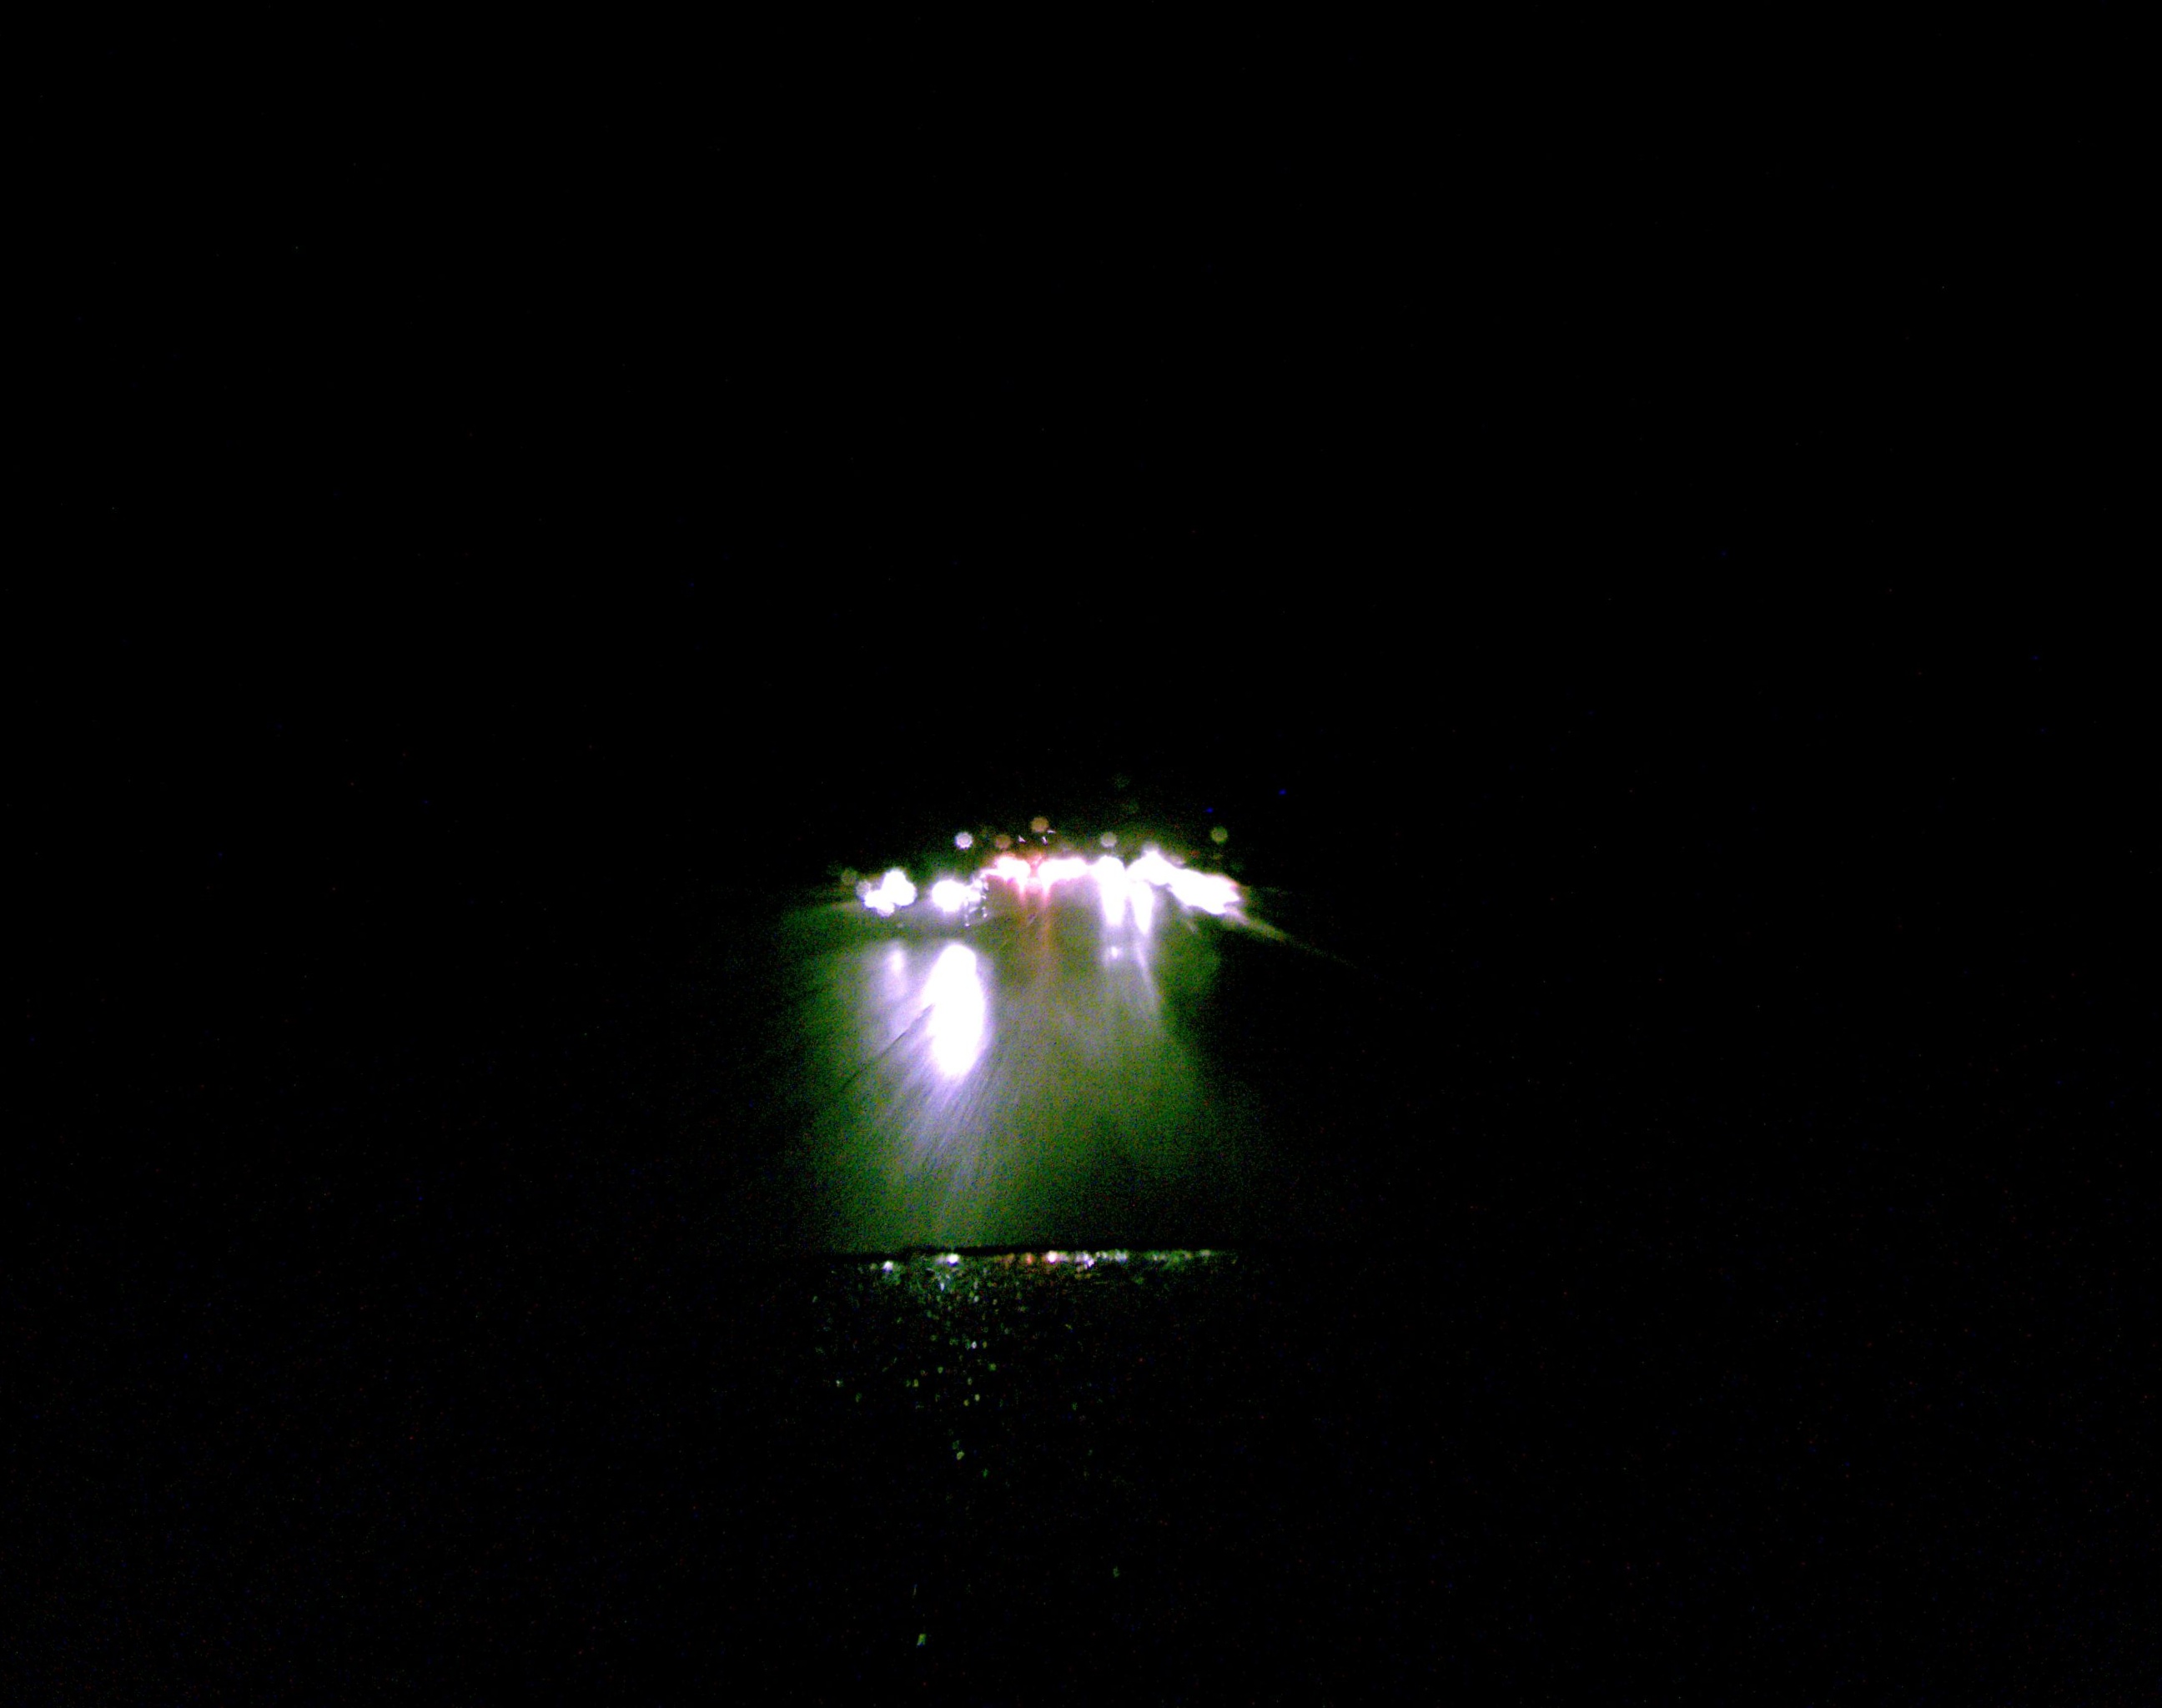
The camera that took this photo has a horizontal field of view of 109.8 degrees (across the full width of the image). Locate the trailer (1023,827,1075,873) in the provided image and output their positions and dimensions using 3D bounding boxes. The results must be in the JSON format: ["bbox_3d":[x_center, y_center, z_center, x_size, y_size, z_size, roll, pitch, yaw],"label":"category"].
[{"bbox_3d":[-2.927,-0.357,74.257,2.745,3.954,13.826,-4,0,6],"label":"trailer"}]

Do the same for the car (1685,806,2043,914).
[{"bbox_3d":[13.264,0.101,13.325,2.129,1.517,4.000,-3,0,1],"label":"car"}]

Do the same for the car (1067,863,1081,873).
[{"bbox_3d":[-1.236,2.528,137.996,1.998,1.614,4.628,-4,0,6],"label":"car"}]

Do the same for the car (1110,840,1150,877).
[{"bbox_3d":[2.994,0.277,45.832,1.997,2.001,4.003,-3,-1,8],"label":"car"}]

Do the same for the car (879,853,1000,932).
[{"bbox_3d":[-3.284,0.869,18.357,1.847,1.614,3.680,-4,-1,5],"label":"car"}]

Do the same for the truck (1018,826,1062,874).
[{"bbox_3d":[-3.615,-0.352,68.136,2.781,3.945,5.200,-4,0,6],"label":"truck"}]

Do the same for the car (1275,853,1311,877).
[{"bbox_3d":[17.124,0.856,61.547,1.998,1.725,4.002,-4,0,5],"label":"car"}]

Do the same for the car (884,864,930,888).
[{"bbox_3d":[-13.107,1.625,57.492,1.997,1.541,4.002,-4,0,8],"label":"car"}]

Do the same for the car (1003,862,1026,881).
[{"bbox_3d":[-8.211,2.149,94.304,1.998,2.002,4.002,-4,0,6],"label":"car"}]
